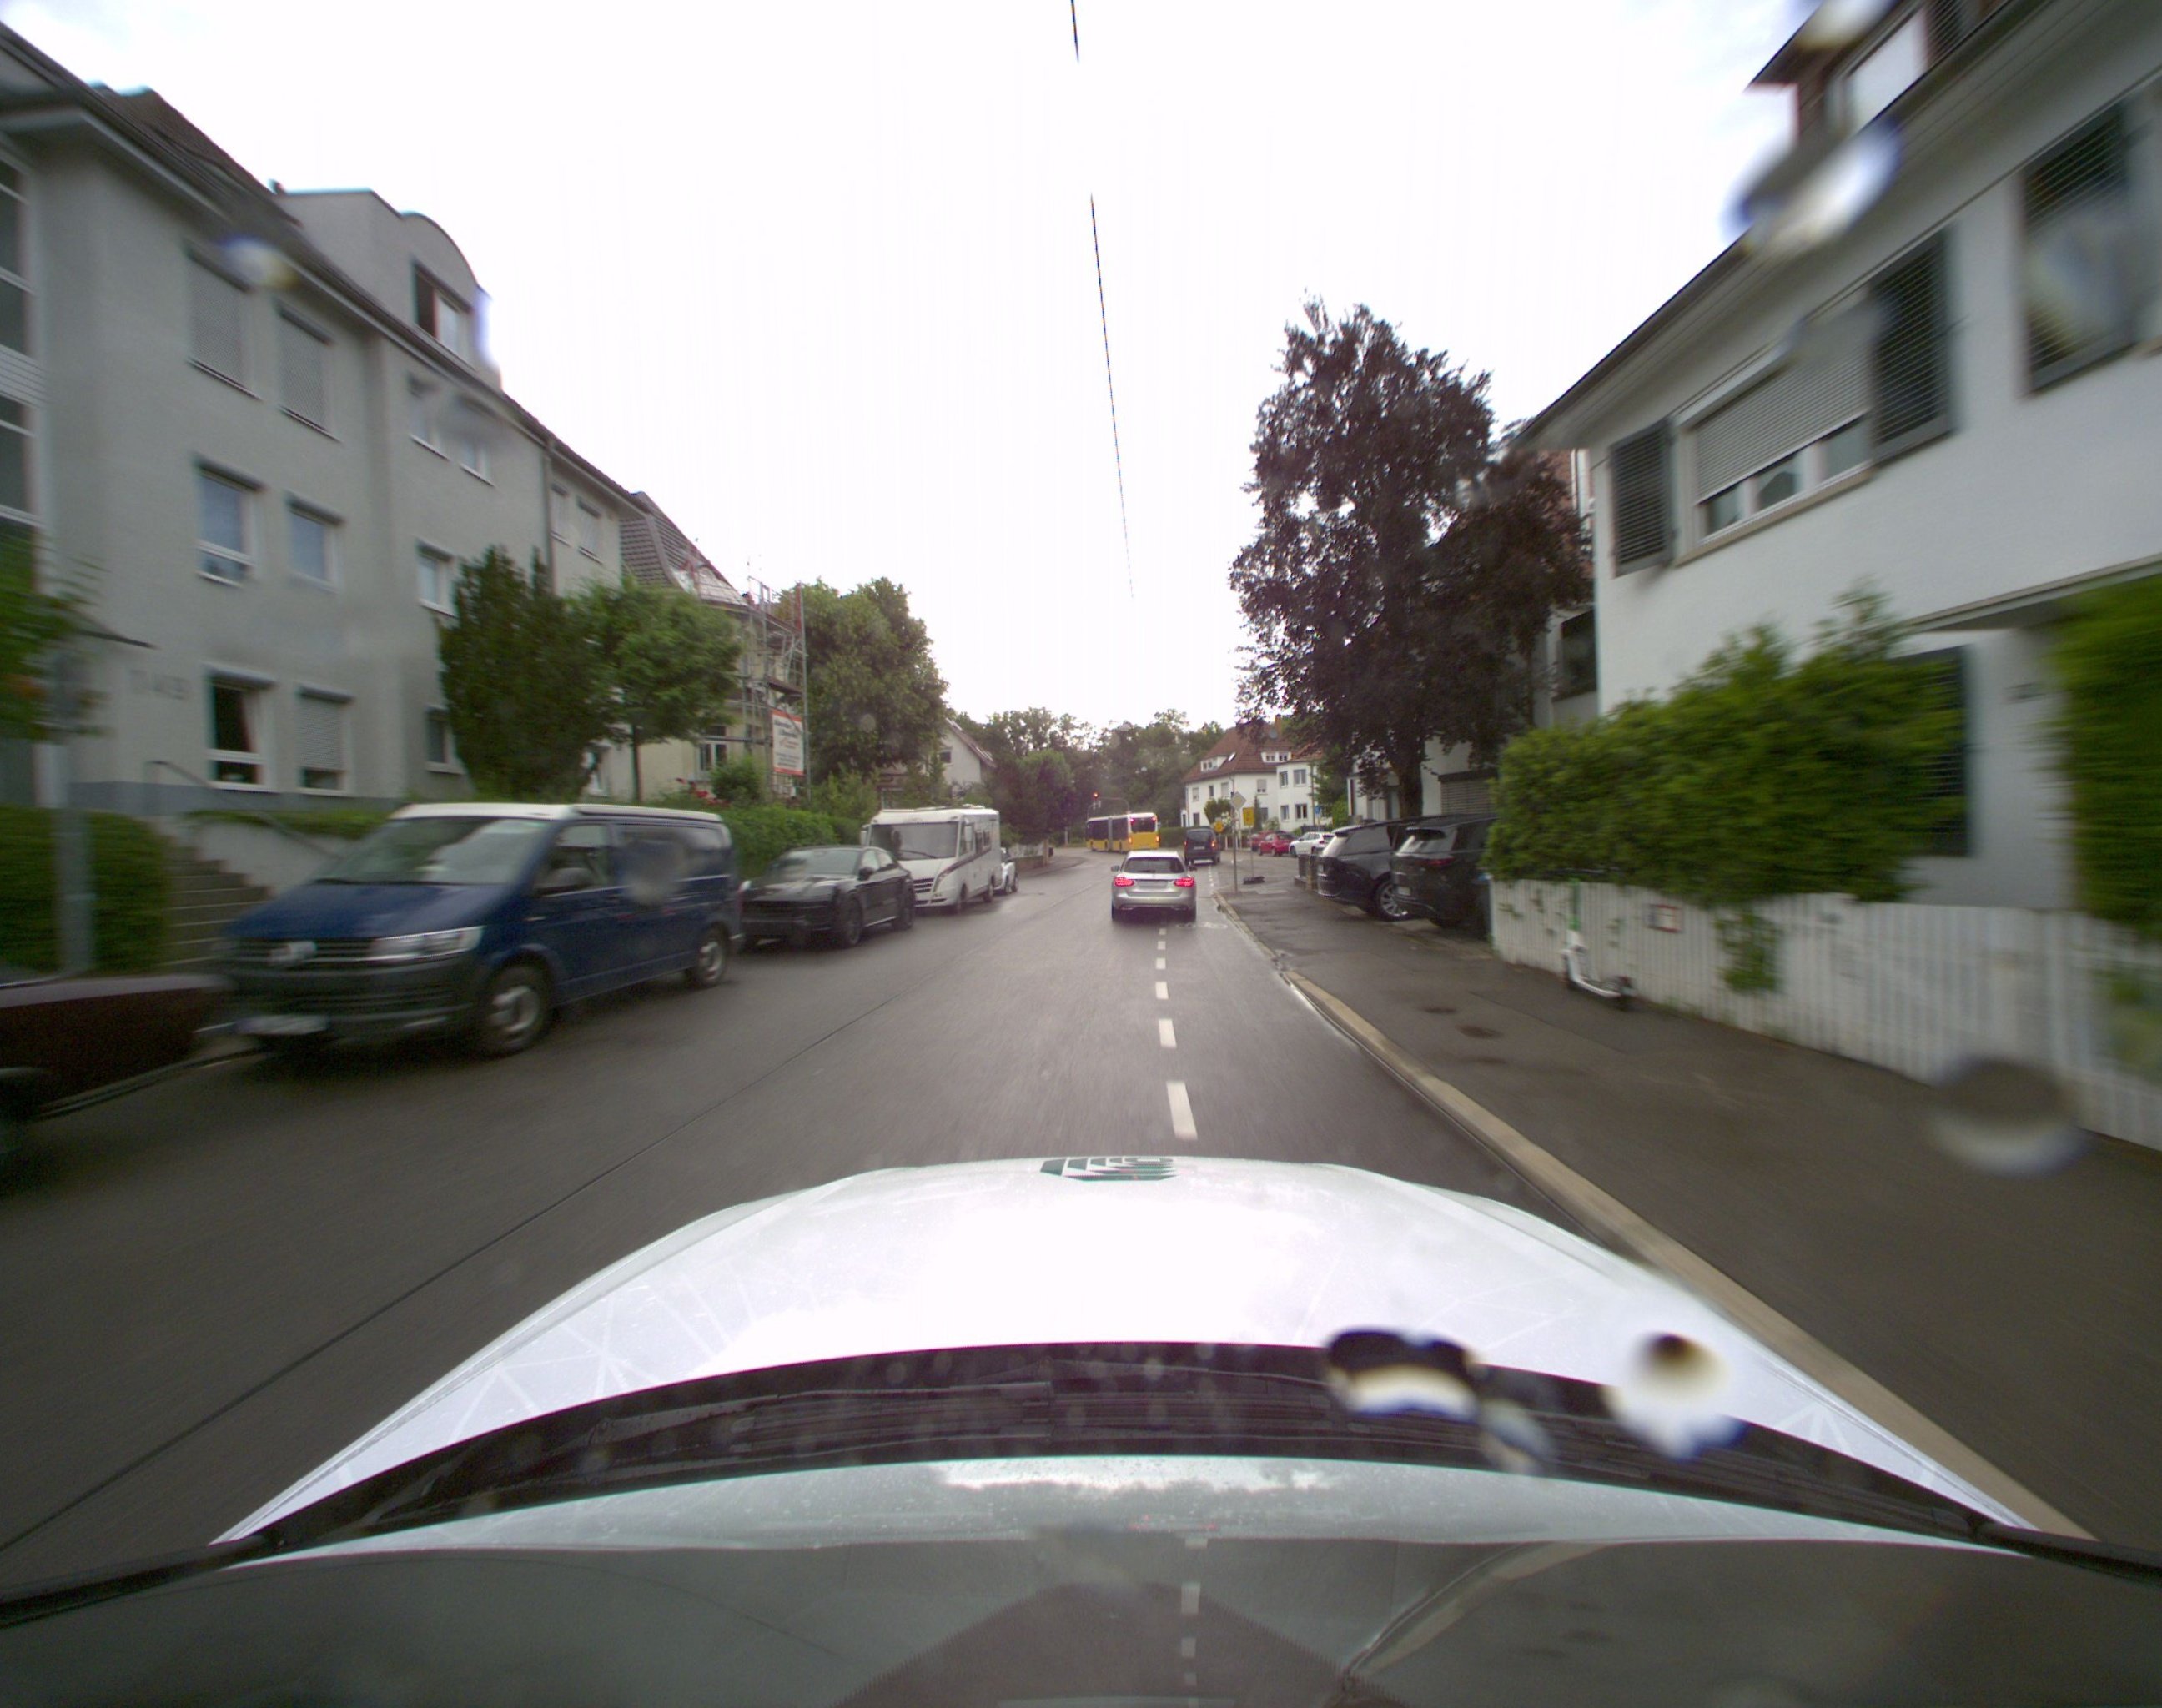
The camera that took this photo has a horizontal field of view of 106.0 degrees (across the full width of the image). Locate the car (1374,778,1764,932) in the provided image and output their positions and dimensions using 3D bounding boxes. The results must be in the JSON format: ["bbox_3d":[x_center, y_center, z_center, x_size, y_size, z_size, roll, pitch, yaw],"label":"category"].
[{"bbox_3d":[7.173,0.003,12.392,4.644,1.812,2.001,-4,1,2],"label":"car"}]

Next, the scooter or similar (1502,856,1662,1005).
[{"bbox_3d":[4.524,0.619,7.505,0.454,1.200,1.868,0,0,5],"label":"scooter or similar"}]

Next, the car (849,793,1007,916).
[{"bbox_3d":[-3.768,-0.098,21.687,2.379,2.771,6.543,0,2,5],"label":"car"}]

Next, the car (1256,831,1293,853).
[{"bbox_3d":[13.090,-0.842,55.201,1.207,1.451,3.008,-1,2,-14],"label":"car"}]

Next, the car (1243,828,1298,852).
[{"bbox_3d":[15.308,-1.131,65.782,3.980,1.793,1.757,-1,2,-5],"label":"car"}]

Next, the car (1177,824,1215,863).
[{"bbox_3d":[5.955,-0.524,42.467,1.833,1.903,4.007,-1,0,6],"label":"car"}]

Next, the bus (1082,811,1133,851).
[{"bbox_3d":[2.474,-2.346,80.512,2.929,3.650,10.267,-1,3,-10],"label":"bus"}]

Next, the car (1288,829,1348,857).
[{"bbox_3d":[14.515,-0.718,50.035,1.809,1.608,4.047,-1,3,-13],"label":"car"}]

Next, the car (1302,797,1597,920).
[{"bbox_3d":[6.855,0.072,15.581,4.644,1.874,2.001,-4,1,2],"label":"car"}]

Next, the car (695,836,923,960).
[{"bbox_3d":[-4.437,0.606,14.259,1.983,1.688,4.685,0,3,6],"label":"car"}]

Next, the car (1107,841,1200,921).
[{"bbox_3d":[1.660,0.504,18.027,1.807,1.556,4.008,0,1,7],"label":"car"}]

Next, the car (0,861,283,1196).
[{"bbox_3d":[-5.479,0.790,2.428,1.638,1.417,4.612,-1,1,0],"label":"car"}]

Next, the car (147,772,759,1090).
[{"bbox_3d":[-5.091,0.496,7.812,1.822,2.056,5.013,-1,0,2],"label":"car"}]

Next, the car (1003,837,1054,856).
[{"bbox_3d":[-4.180,-0.593,64.608,3.979,1.419,1.885,-1,3,-4],"label":"car"}]

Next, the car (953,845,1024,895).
[{"bbox_3d":[-3.042,0.504,27.350,1.704,1.447,3.261,0,3,6],"label":"car"}]

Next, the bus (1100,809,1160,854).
[{"bbox_3d":[4.138,-2.080,71.468,2.929,3.650,10.134,-1,3,-10],"label":"bus"}]
